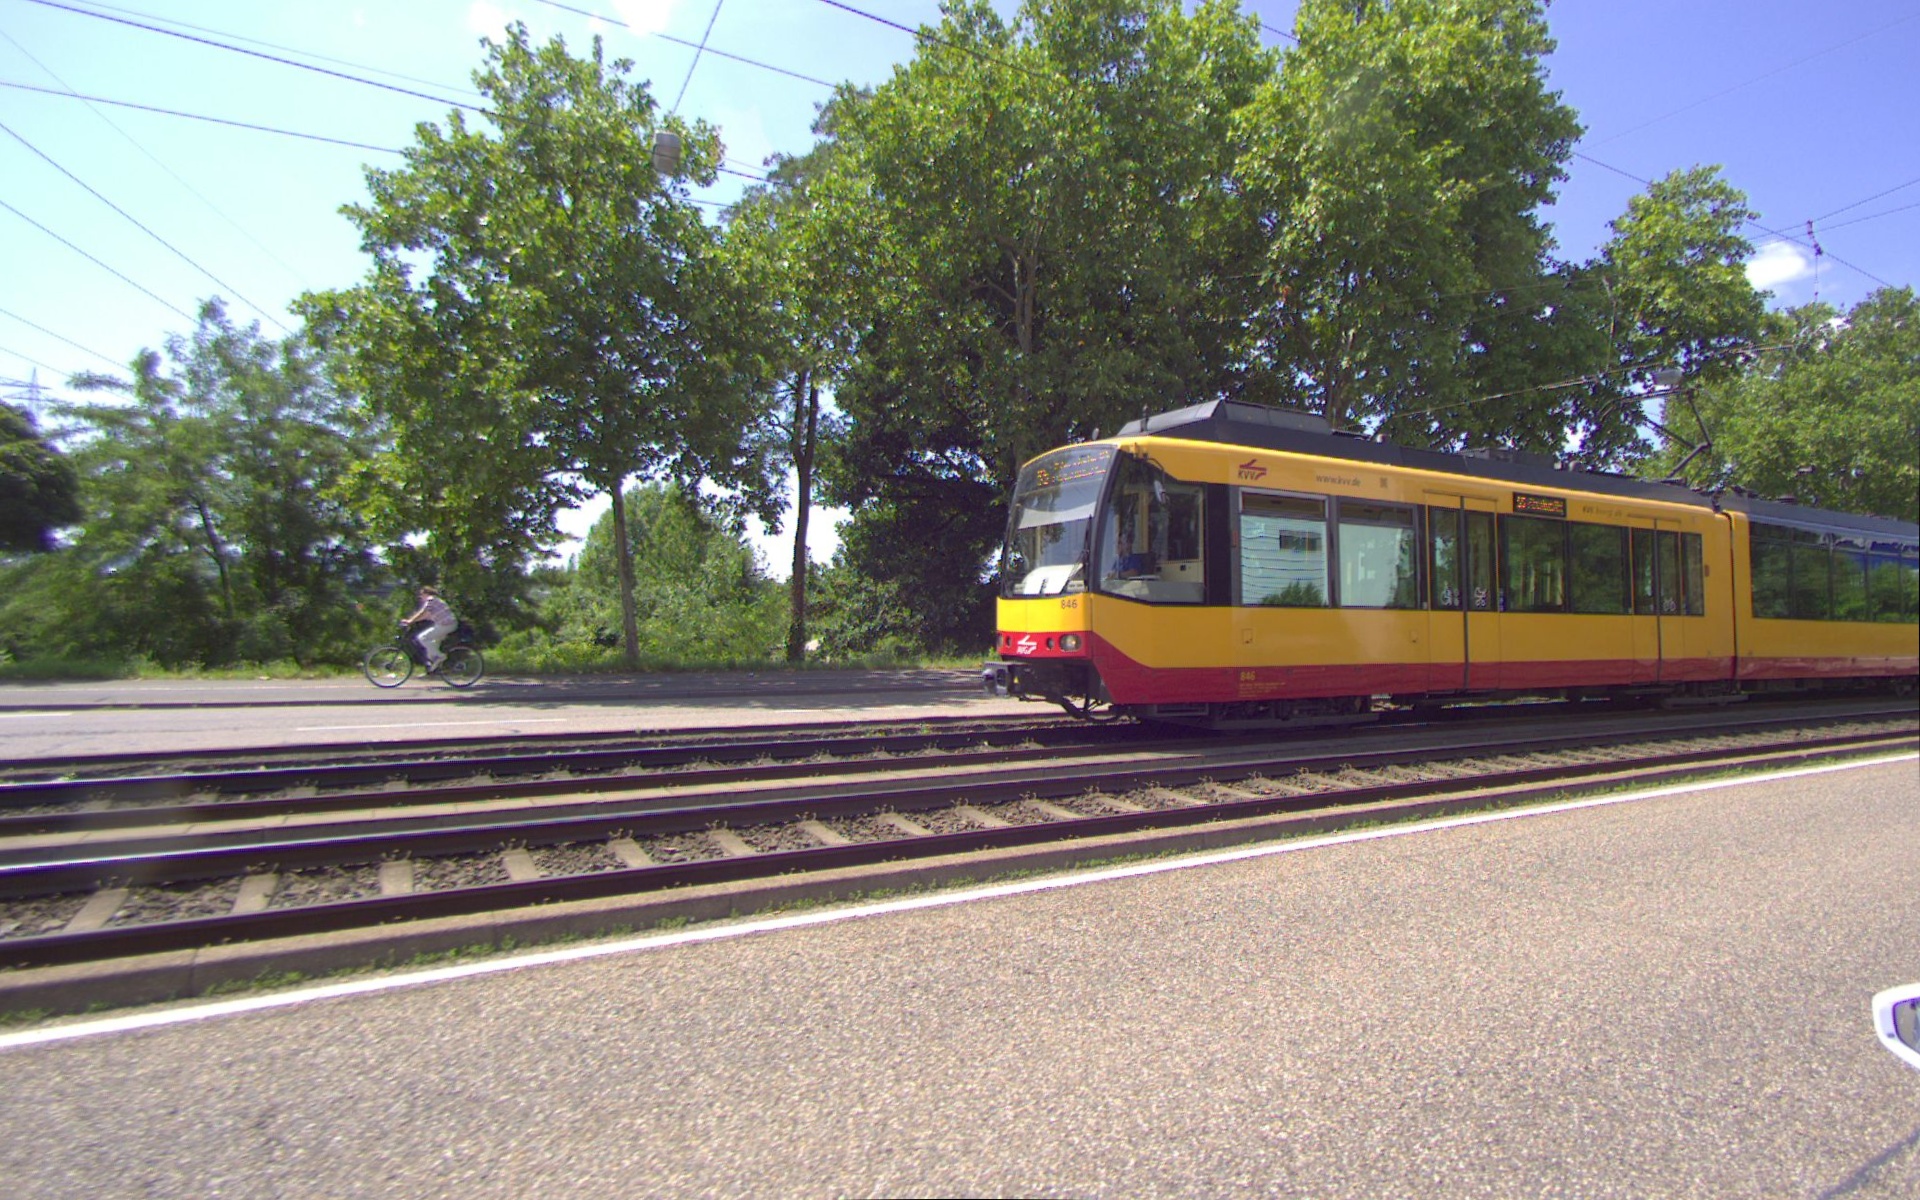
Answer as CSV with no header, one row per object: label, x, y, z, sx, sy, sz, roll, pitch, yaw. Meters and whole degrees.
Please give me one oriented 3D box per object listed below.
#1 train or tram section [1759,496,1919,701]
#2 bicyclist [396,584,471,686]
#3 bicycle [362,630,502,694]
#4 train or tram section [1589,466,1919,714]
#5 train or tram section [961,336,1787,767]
train or tram section,25.602,0.113,25.821,13.868,4.324,3.034,1,-1,-30
bicyclist,-8.834,0.579,16.881,1.047,1.639,0.621,1,2,-24
bicycle,-8.831,1.033,16.903,2.026,0.993,0.621,1,1,-25
train or tram section,16.802,-0.088,20.792,7.907,4.324,3.034,1,-1,-30
train or tram section,7.346,-0.322,15.263,15.241,4.324,3.034,1,-1,-30
